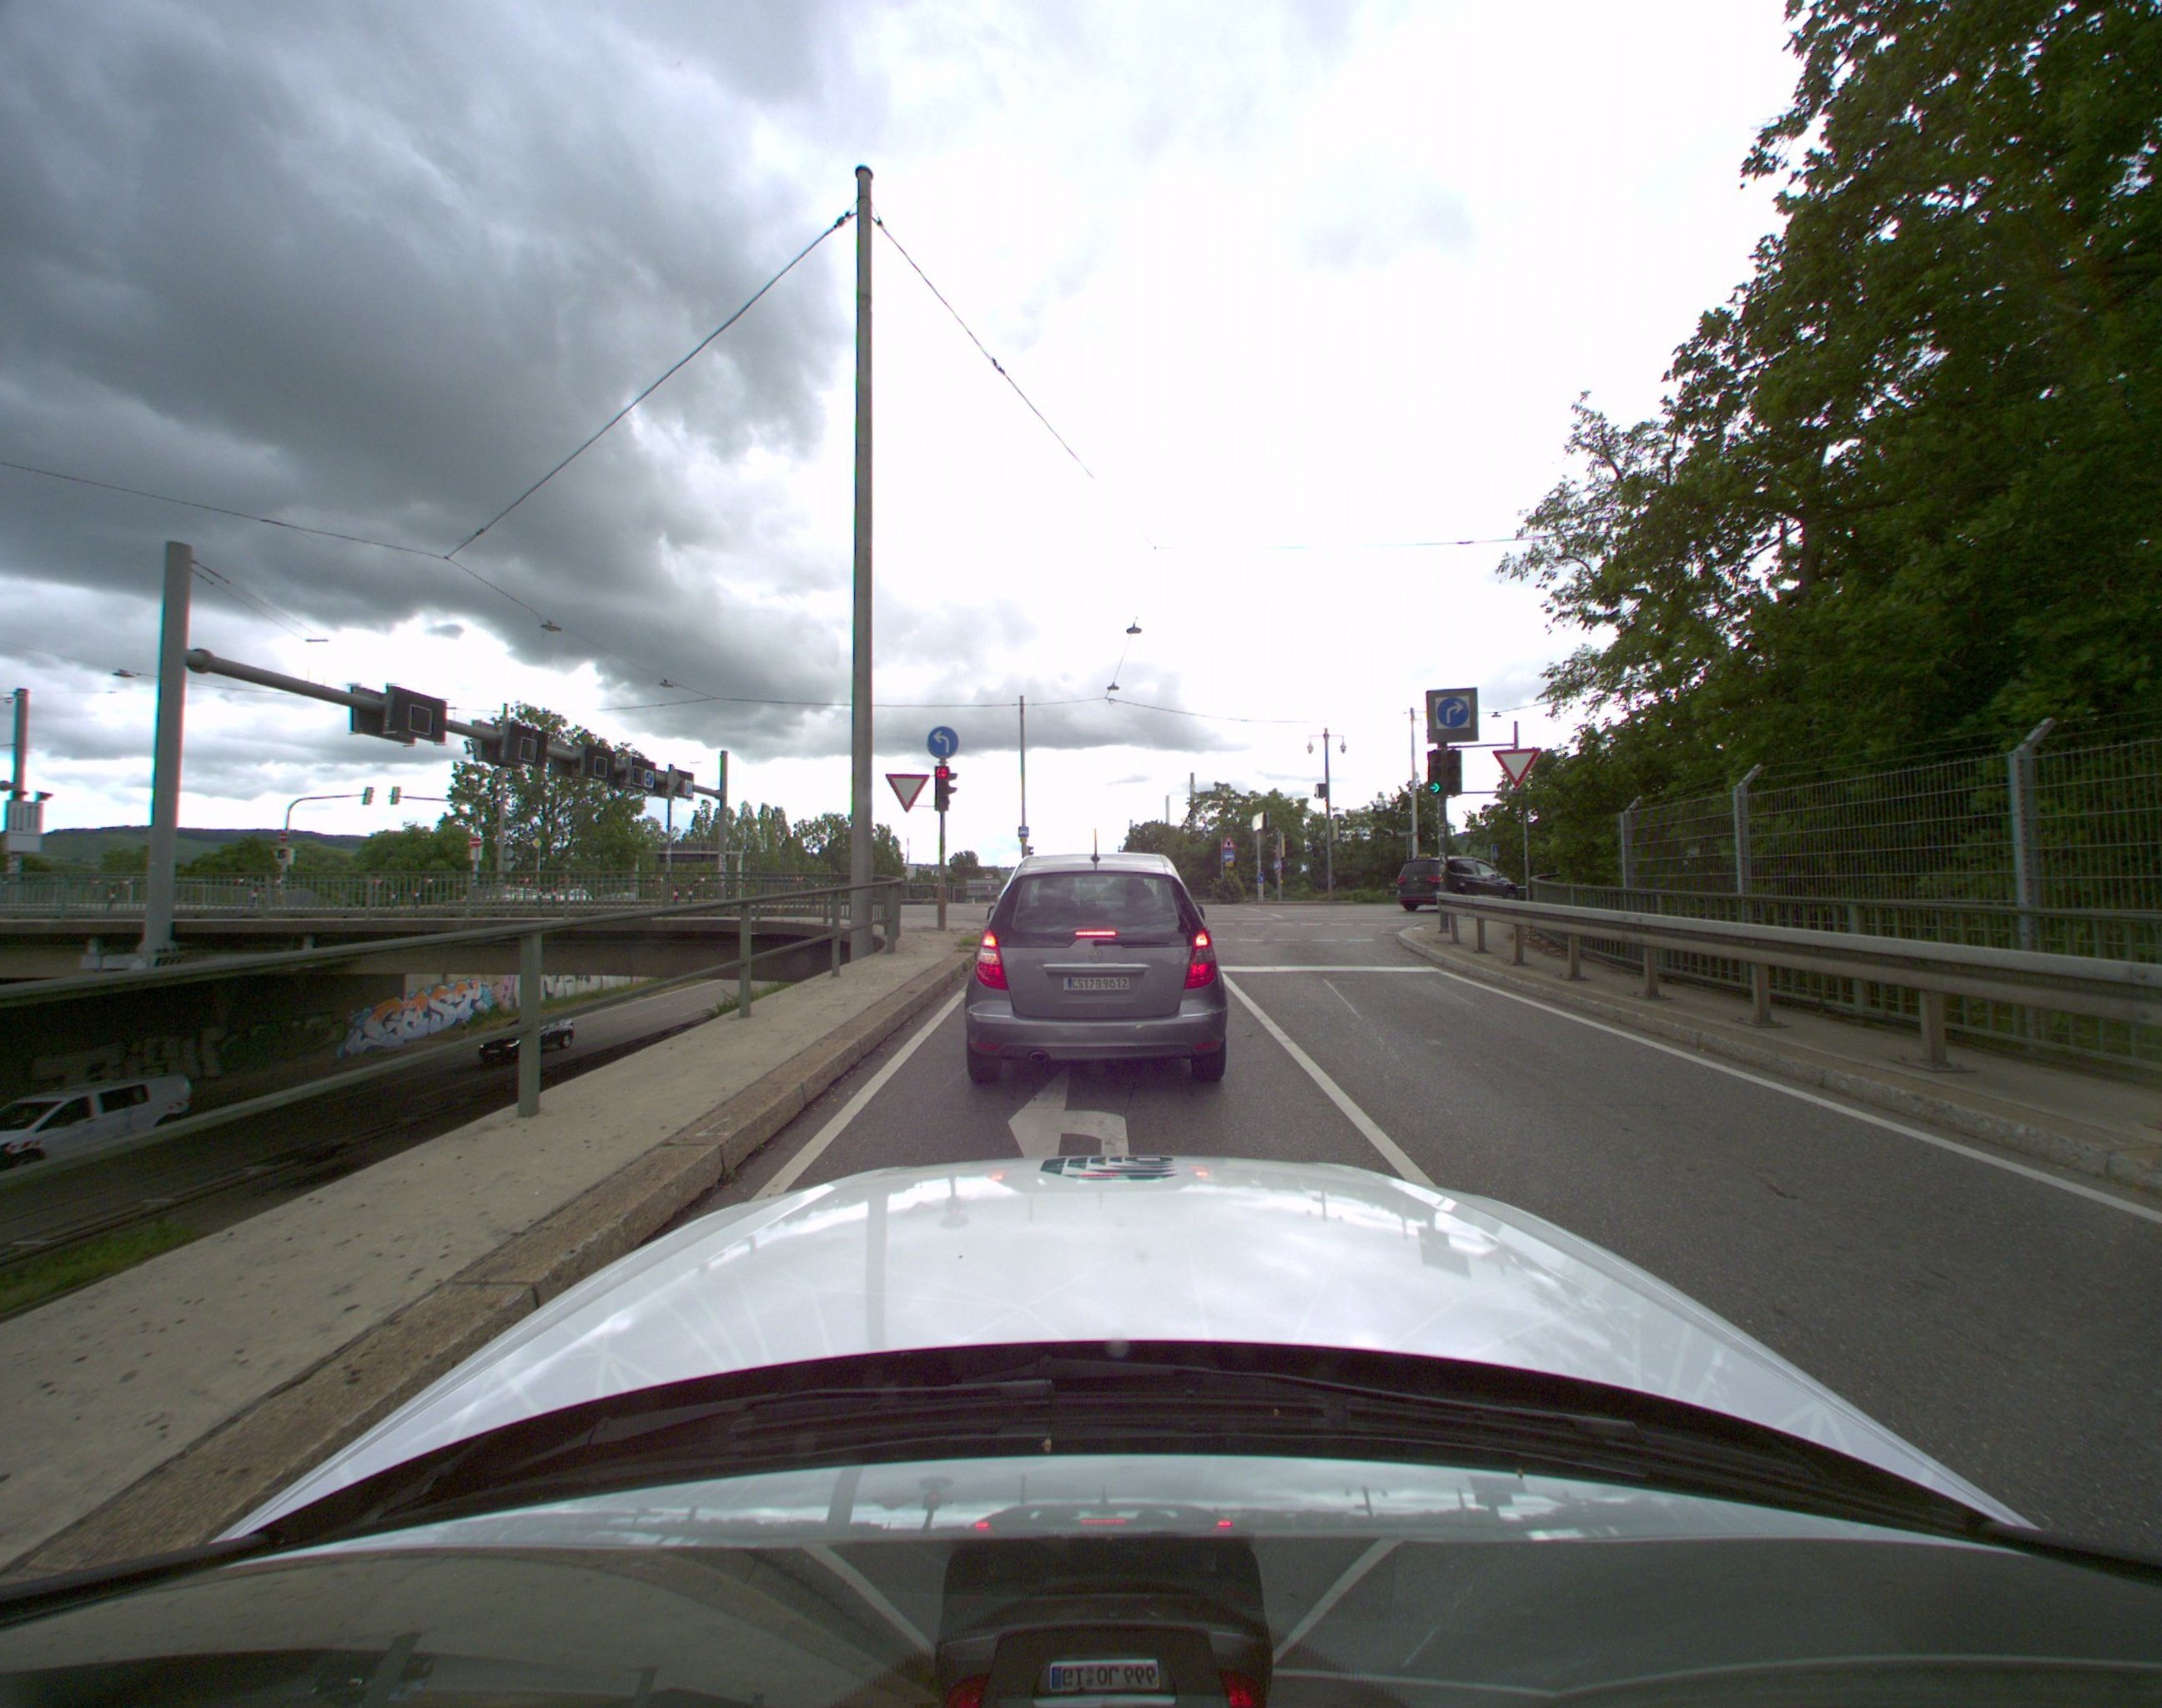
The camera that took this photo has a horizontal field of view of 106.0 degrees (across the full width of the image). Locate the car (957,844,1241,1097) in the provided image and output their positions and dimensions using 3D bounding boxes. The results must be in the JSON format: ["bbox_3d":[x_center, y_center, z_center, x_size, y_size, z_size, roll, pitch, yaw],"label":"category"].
[{"bbox_3d":[0.167,0.730,6.772,1.733,1.543,3.542,0,-1,2],"label":"car"}]

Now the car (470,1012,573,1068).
[{"bbox_3d":[-24.496,8.123,35.837,1.659,1.621,4.001,-3,-3,2],"label":"car"}]

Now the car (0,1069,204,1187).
[{"bbox_3d":[-28.092,7.541,22.694,1.941,1.908,4.909,-2,-3,0],"label":"car"}]

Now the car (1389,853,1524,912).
[{"bbox_3d":[11.591,0.823,25.083,4.165,1.653,1.784,0,-1,-32],"label":"car"}]
